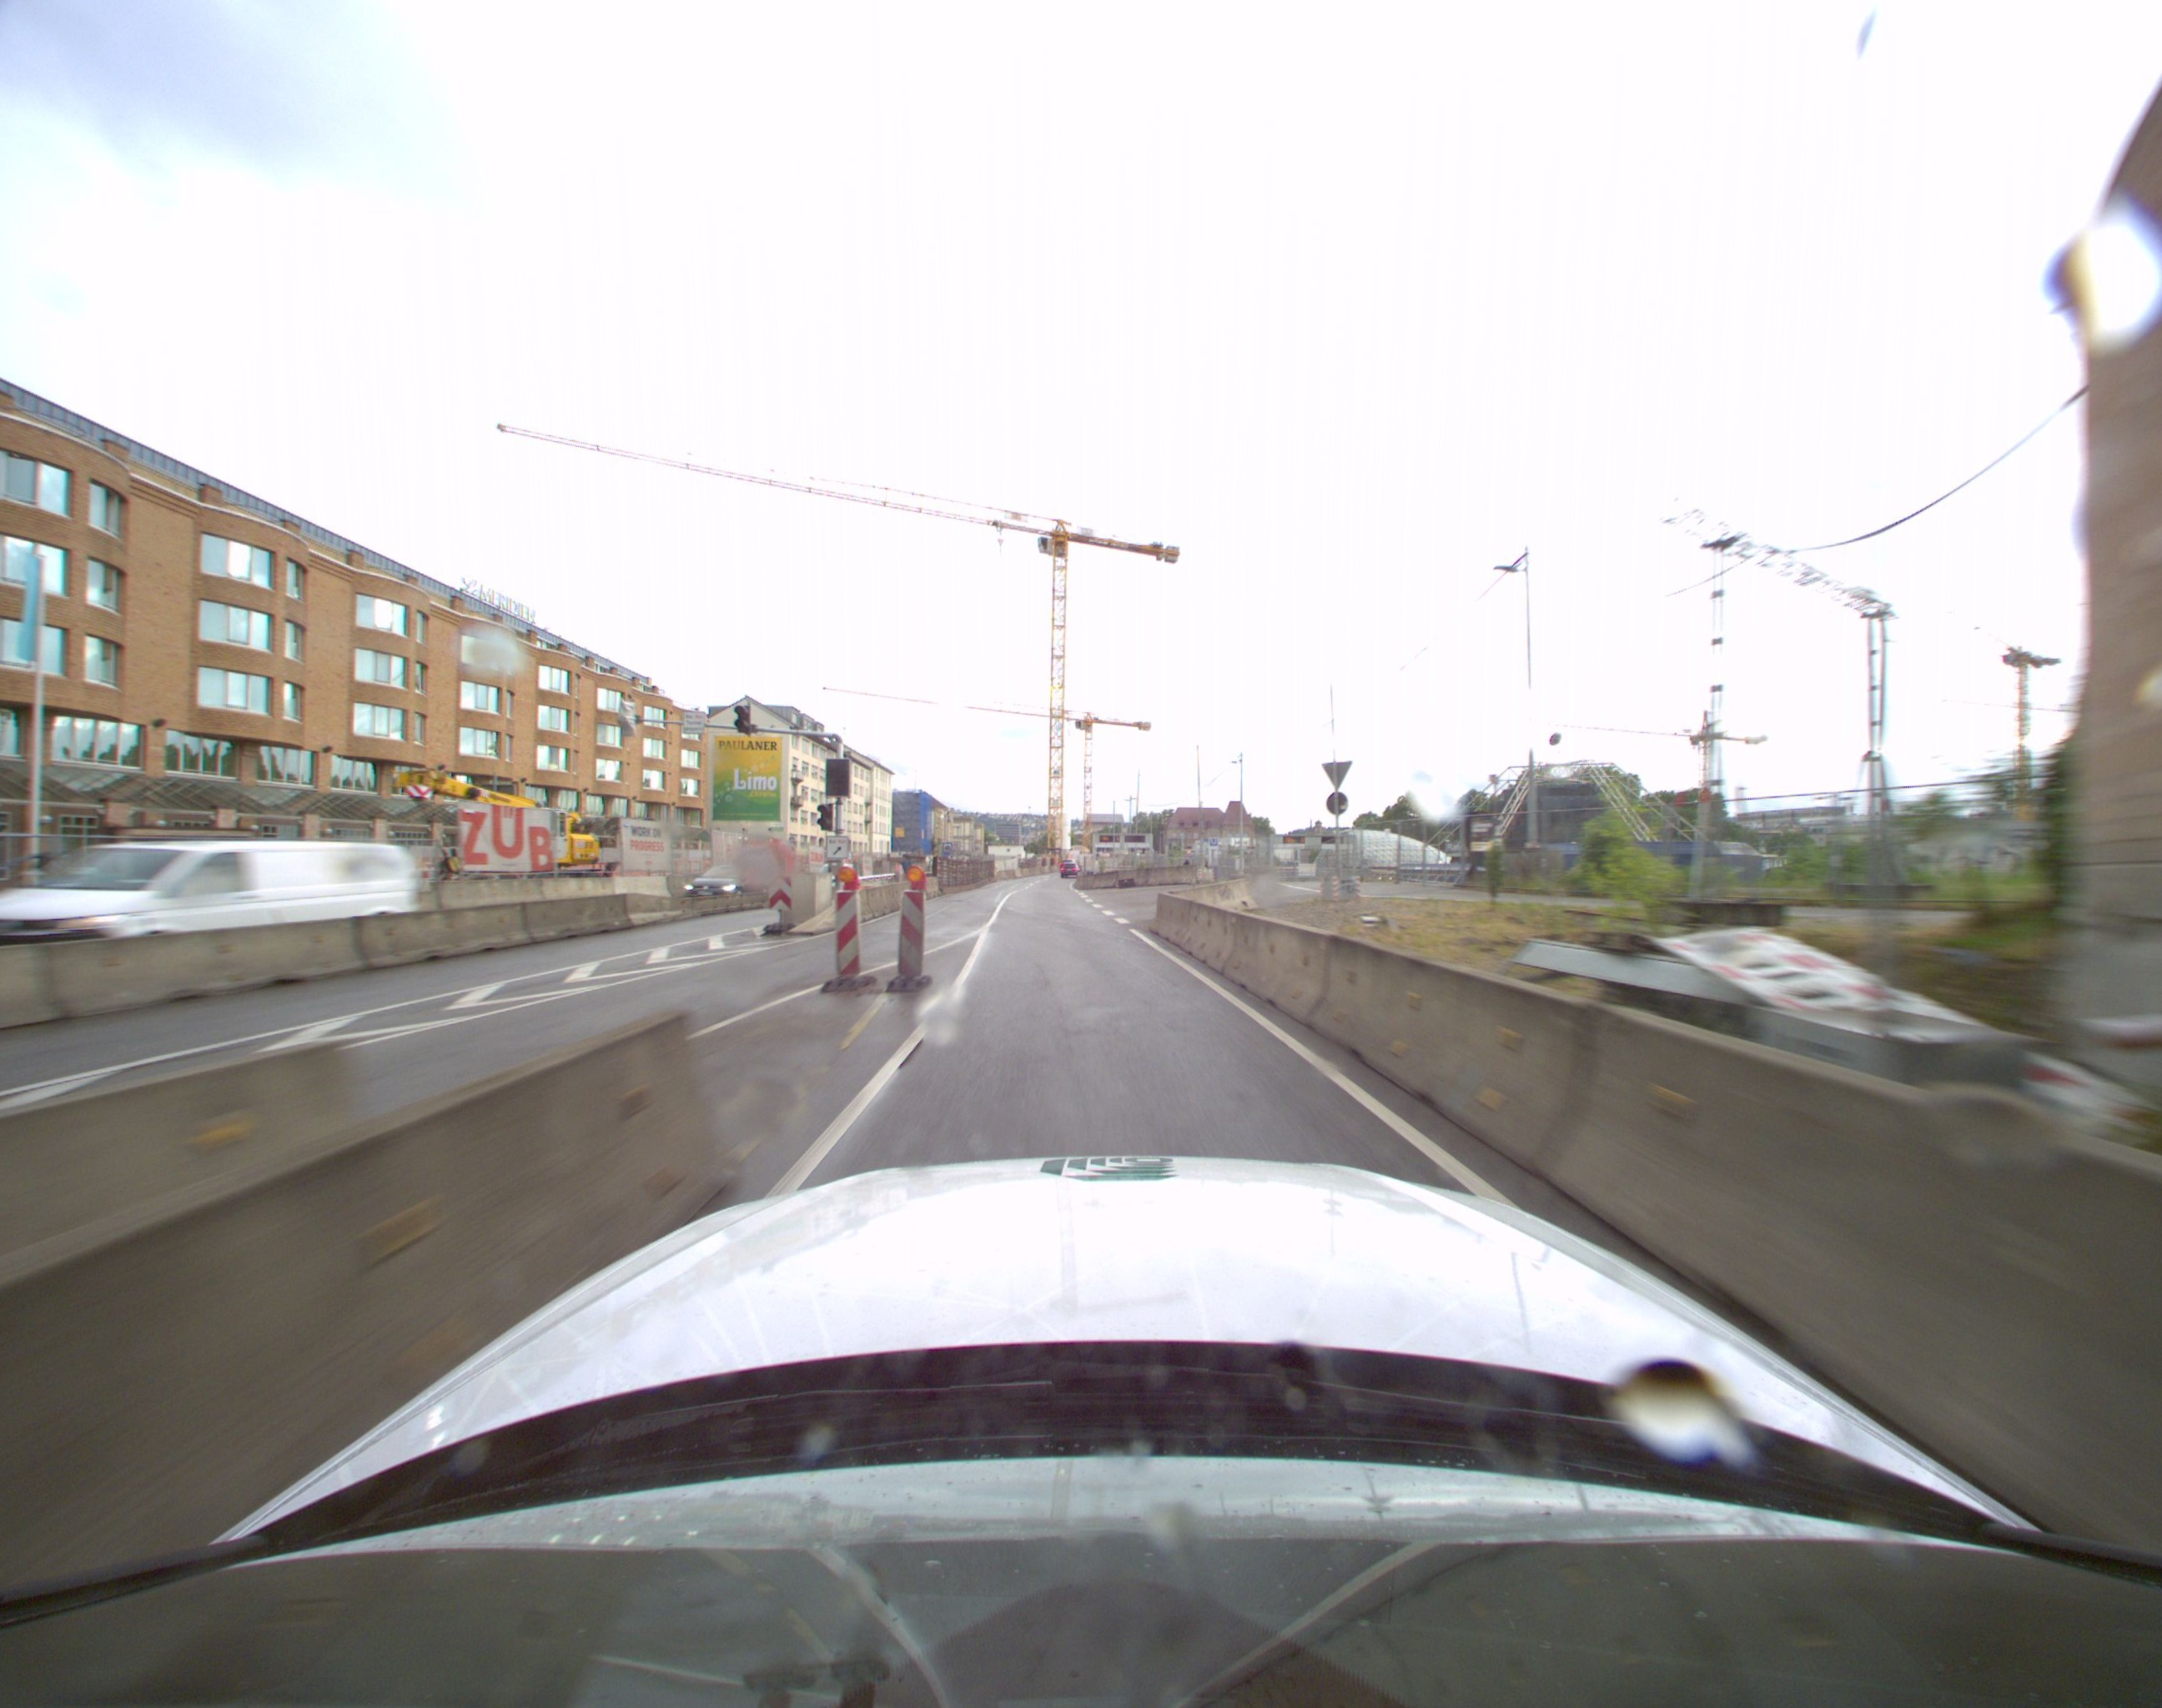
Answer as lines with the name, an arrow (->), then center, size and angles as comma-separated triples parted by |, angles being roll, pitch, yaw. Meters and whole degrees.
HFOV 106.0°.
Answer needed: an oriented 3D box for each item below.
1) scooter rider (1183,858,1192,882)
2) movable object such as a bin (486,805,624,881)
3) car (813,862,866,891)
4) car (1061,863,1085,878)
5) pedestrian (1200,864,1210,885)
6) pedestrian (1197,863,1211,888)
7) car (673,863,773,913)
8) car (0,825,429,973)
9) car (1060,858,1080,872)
scooter rider -> 8.047, 1.218, 61.515 | 0.517, 1.755, 0.702 | -1, -1, 14
movable object such as a bin -> -17.576, -0.322, 27.519 | 2.023, 2.277, 4.286 | -3, 0, -5
car -> -13.624, 1.246, 46.155 | 1.742, 1.549, 4.520 | 0, 0, -2
car -> -0.774, 1.558, 78.724 | 1.854, 1.433, 4.663 | 0, -1, 5
pedestrian -> 10.572, 1.710, 69.517 | 0.687, 1.778, 1.022 | 0, -2, 0
pedestrian -> 8.715, 1.501, 57.845 | 0.691, 1.778, 0.810 | 0, -2, -18
car -> -12.875, 1.173, 29.570 | 1.799, 1.623, 4.034 | 0, 0, 1
car -> -13.162, 0.531, 12.634 | 1.799, 1.821, 5.301 | 0, 0, 1
car -> -1.336, 1.313, 99.177 | 1.853, 1.660, 4.665 | 1, 0, 7
